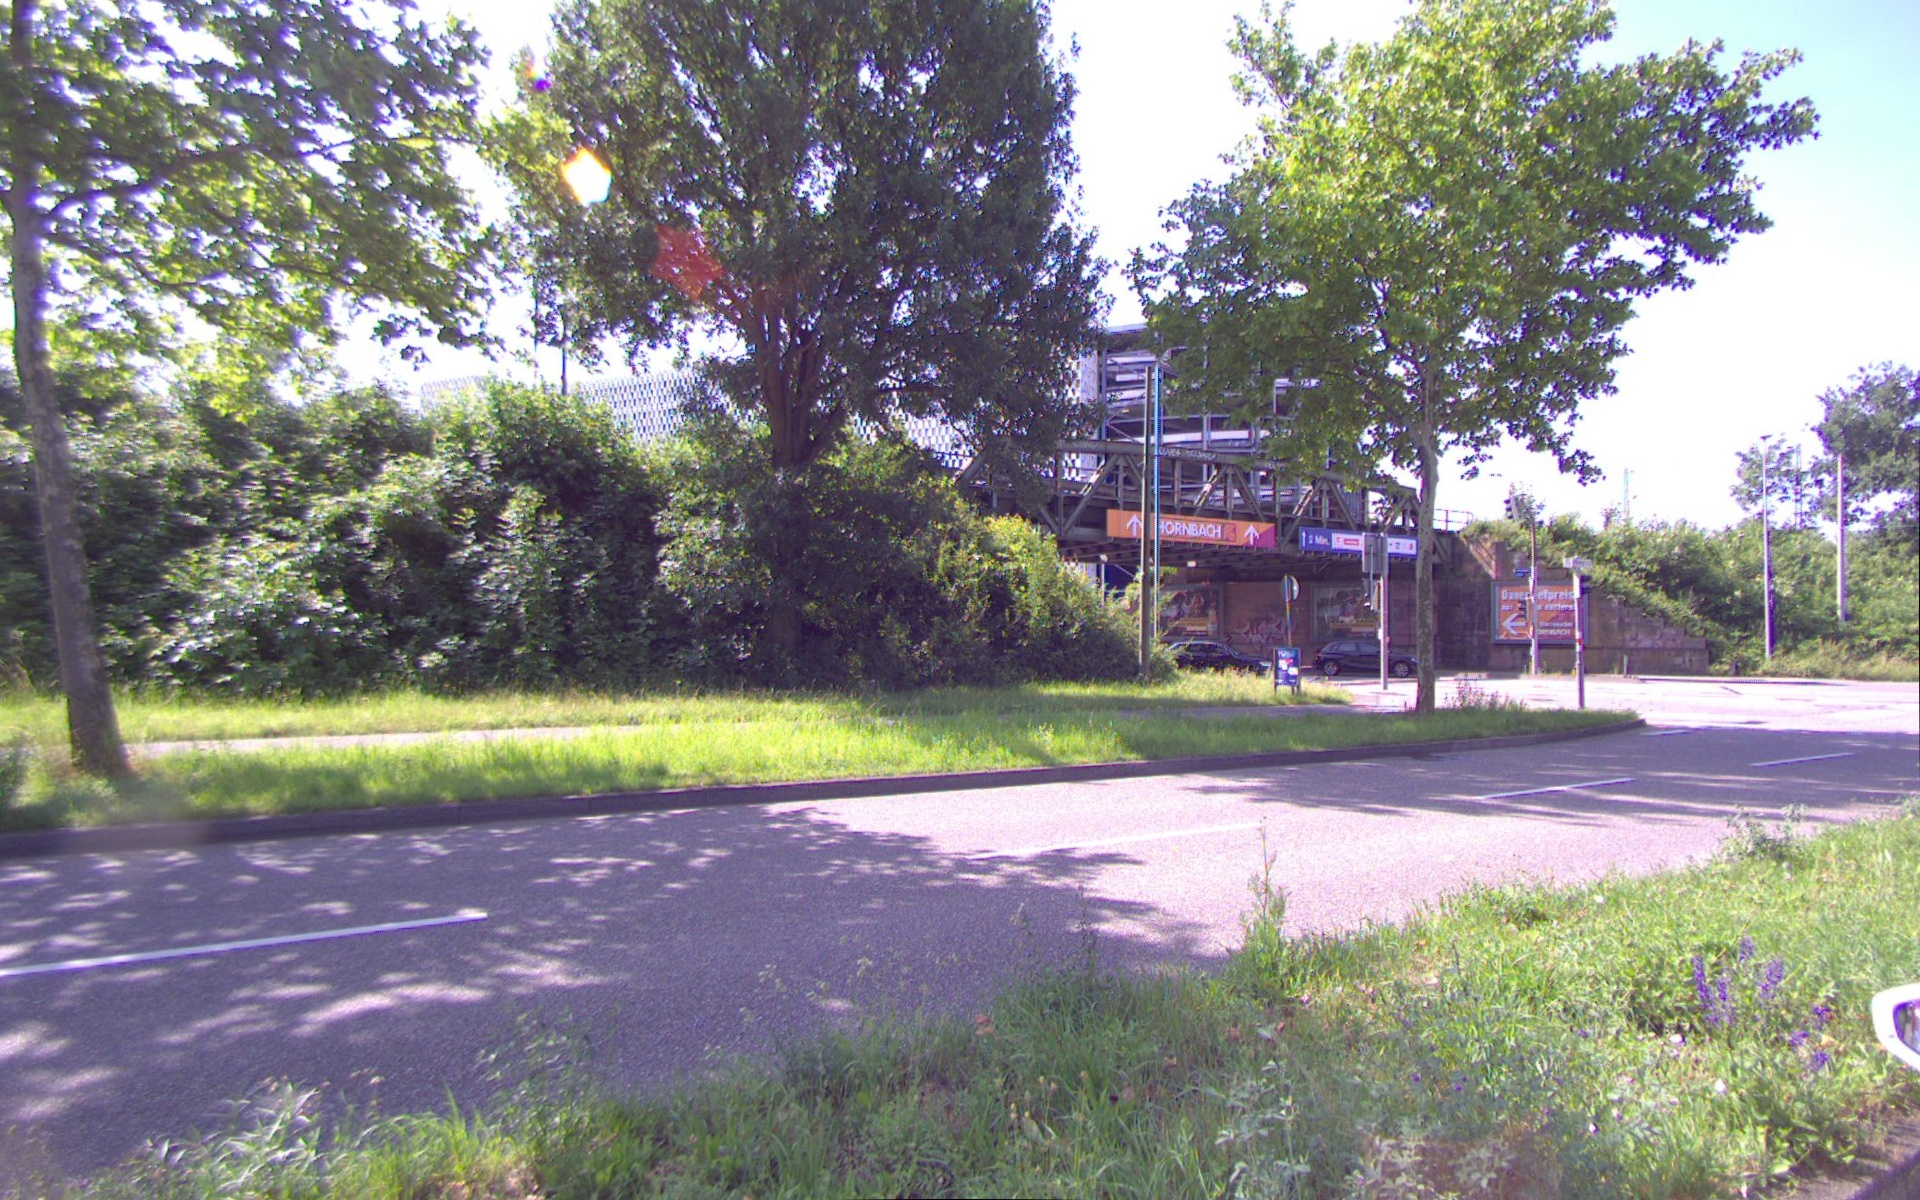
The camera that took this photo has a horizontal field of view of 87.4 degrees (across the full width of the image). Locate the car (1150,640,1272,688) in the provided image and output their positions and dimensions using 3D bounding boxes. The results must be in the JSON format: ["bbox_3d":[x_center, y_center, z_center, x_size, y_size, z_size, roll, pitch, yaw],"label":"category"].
[{"bbox_3d":[8.828,2.218,35.265,3.869,1.500,1.822,1,-2,25],"label":"car"}]

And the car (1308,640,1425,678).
[{"bbox_3d":[16.261,2.321,40.221,4.253,1.413,1.770,-1,-2,24],"label":"car"}]
